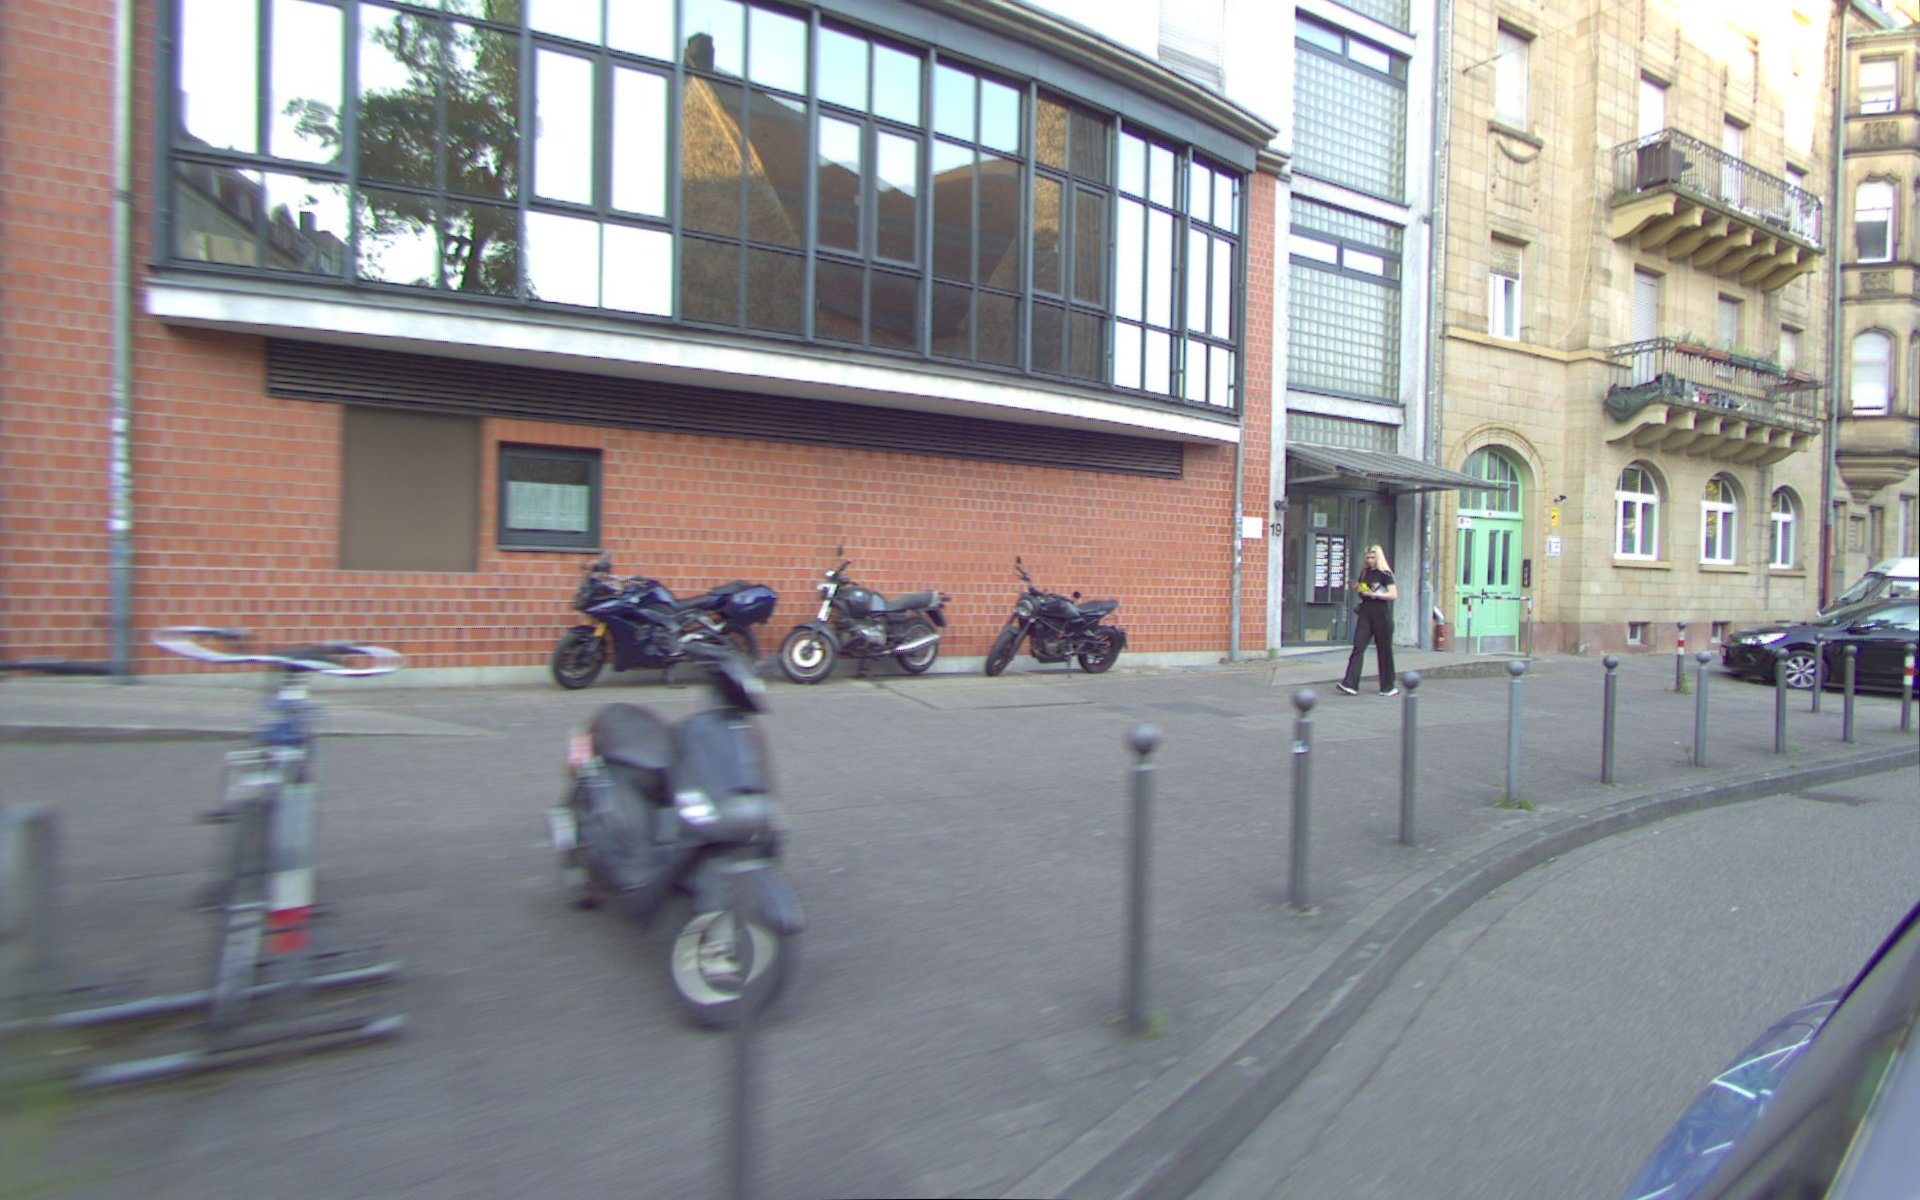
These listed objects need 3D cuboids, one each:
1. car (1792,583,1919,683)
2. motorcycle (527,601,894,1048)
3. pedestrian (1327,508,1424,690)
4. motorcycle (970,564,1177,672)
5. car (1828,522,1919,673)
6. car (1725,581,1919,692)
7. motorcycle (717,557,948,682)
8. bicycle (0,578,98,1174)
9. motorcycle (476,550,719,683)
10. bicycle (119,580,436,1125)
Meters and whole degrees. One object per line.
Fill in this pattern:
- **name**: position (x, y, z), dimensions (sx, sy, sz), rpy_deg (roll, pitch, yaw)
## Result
- **car**: position (16.104, 0.539, 15.978), dimensions (4.325, 1.521, 1.891), rpy_deg (2, 1, 33)
- **motorcycle**: position (-0.976, 0.618, 3.610), dimensions (0.635, 1.115, 1.650), rpy_deg (0, 4, -38)
- **pedestrian**: position (4.833, -0.016, 11.772), dimensions (0.840, 2.039, 0.610), rpy_deg (1, 1, -29)
- **motorcycle**: position (1.374, 0.189, 11.992), dimensions (2.391, 1.153, 0.803), rpy_deg (0, 3, -30)
- **car**: position (18.176, -0.023, 17.350), dimensions (4.689, 2.578, 1.897), rpy_deg (2, 2, 32)
- **car**: position (13.917, 0.521, 14.870), dimensions (4.036, 1.510, 1.706), rpy_deg (2, 1, 30)
- **motorcycle**: position (-1.278, 0.163, 10.594), dimensions (2.375, 1.153, 0.776), rpy_deg (-1, 3, -43)
- **bicycle**: position (-2.174, 0.588, 1.972), dimensions (0.462, 1.190, 1.715), rpy_deg (1, 3, -31)
- **motorcycle**: position (-3.356, 0.128, 9.466), dimensions (2.043, 1.116, 0.591), rpy_deg (0, 4, -33)
- **bicycle**: position (-2.131, 0.581, 3.322), dimensions (0.646, 1.159, 1.869), rpy_deg (1, 4, -30)
